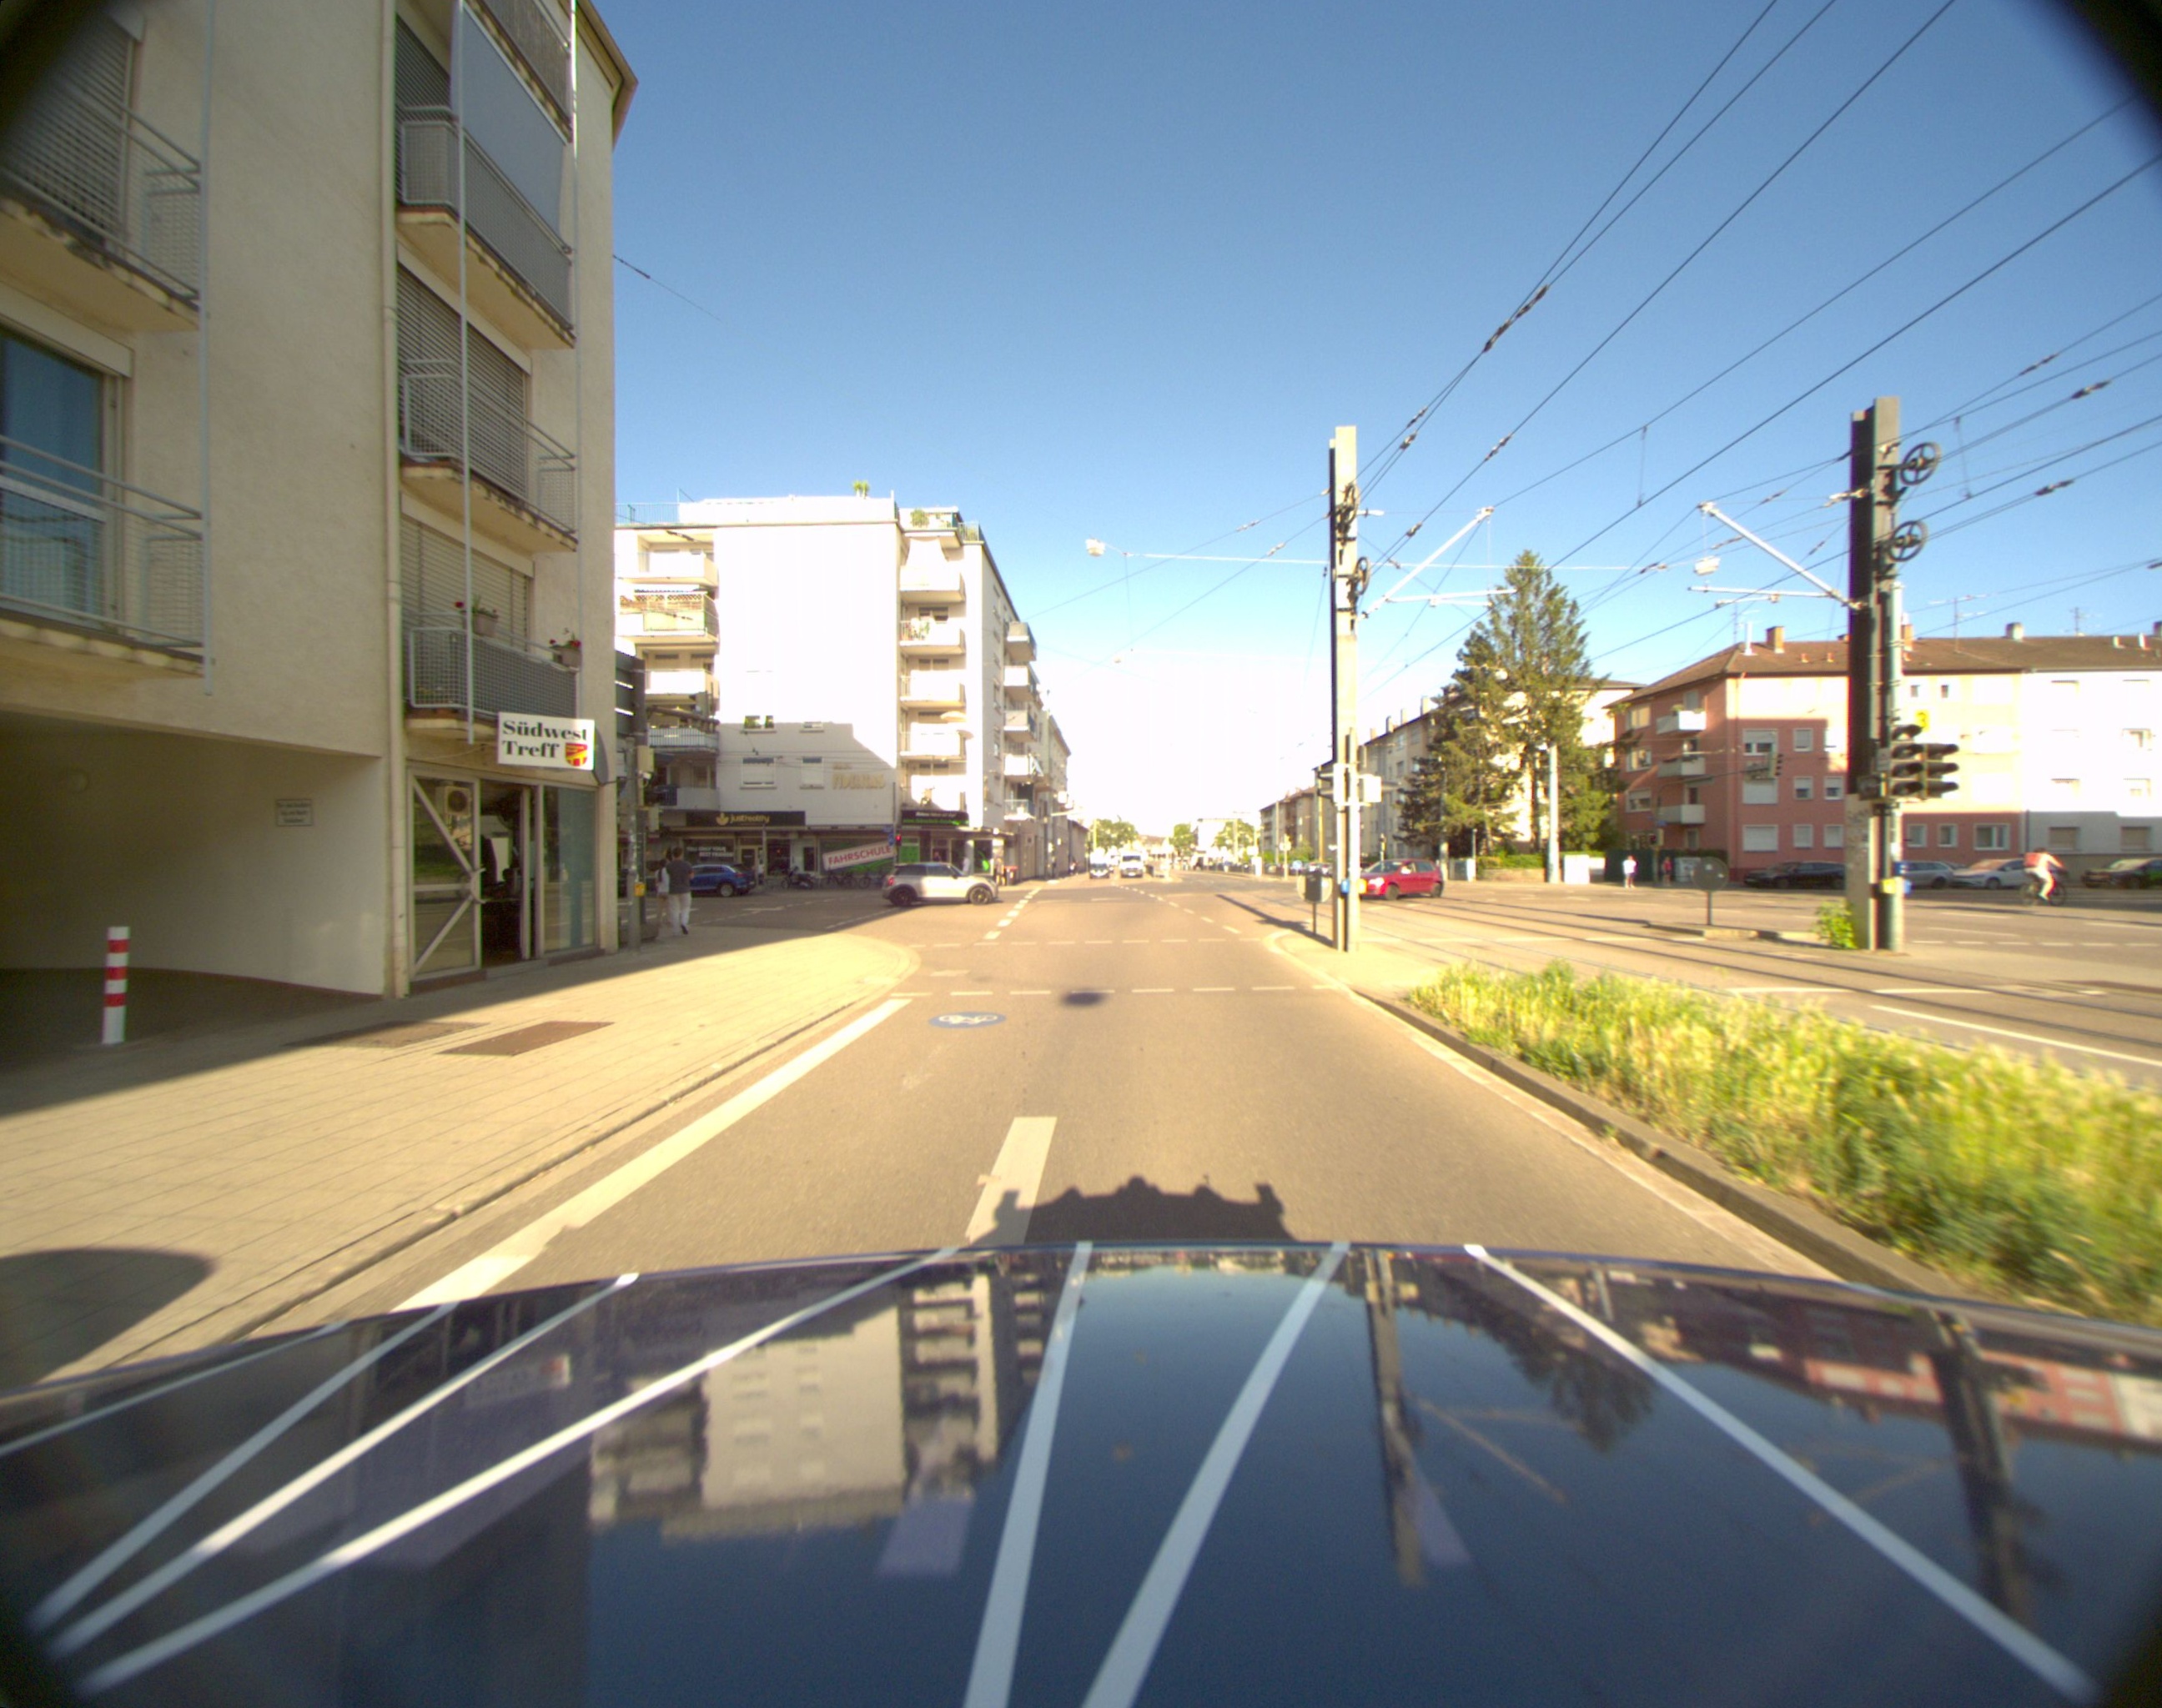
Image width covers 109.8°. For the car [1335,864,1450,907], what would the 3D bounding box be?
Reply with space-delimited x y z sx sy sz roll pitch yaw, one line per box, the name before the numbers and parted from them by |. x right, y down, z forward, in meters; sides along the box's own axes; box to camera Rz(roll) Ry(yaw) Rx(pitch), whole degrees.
car | 11.299 1.097 27.541 3.834 1.477 1.781 0 0 -26

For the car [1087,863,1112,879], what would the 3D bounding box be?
car | 1.683 1.498 67.990 1.881 1.405 3.932 1 -1 6

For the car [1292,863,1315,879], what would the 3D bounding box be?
car | 24.736 1.868 84.633 1.559 1.517 3.645 0 2 3

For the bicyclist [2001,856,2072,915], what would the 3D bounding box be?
bicyclist | 28.084 0.909 22.349 0.934 1.682 0.814 1 2 9

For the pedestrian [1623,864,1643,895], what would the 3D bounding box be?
pedestrian | 28.798 1.332 39.641 0.573 1.560 0.518 0 2 2

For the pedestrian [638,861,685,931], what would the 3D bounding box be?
pedestrian | -10.019 1.006 18.151 0.731 1.613 0.542 1 -4 26

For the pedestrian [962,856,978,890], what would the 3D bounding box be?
pedestrian | -5.877 0.988 40.234 0.661 1.782 0.738 0 1 8

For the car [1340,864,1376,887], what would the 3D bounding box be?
car | 23.254 1.771 63.992 1.869 1.619 4.073 1 2 6

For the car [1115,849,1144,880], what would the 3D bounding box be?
car | 4.399 0.893 68.317 2.339 2.503 4.855 1 2 6

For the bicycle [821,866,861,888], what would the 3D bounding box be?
bicycle | -12.093 1.163 38.315 1.795 1.082 0.608 0 2 1

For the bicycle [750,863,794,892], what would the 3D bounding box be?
bicycle | -14.423 1.099 35.460 1.795 1.307 0.608 0 2 1

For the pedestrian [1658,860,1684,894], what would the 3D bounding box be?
pedestrian | 30.920 1.210 39.842 0.705 1.712 0.782 -1 3 -26

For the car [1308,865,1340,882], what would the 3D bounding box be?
car | 23.889 1.874 74.827 1.832 1.470 4.032 0 2 1

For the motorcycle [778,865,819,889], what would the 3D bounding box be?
motorcycle | -14.111 1.153 37.985 1.795 1.128 0.608 0 2 1

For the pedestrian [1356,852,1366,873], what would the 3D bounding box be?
pedestrian | 25.841 0.747 70.136 0.699 1.876 0.781 1 2 6

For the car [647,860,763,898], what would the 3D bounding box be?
car | -16.840 1.108 34.176 4.235 1.495 1.774 -1 3 -1

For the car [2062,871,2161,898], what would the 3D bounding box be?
car | 53.802 1.534 39.015 4.279 1.232 1.952 0 2 0

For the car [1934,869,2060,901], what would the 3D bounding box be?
car | 46.903 1.576 38.961 4.226 1.517 1.747 0 2 1

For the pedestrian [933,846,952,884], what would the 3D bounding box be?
pedestrian | -7.119 0.551 39.079 0.737 1.889 0.575 3 1 19

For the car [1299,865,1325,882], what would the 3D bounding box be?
car | 24.291 2.026 80.043 1.660 1.549 3.788 0 2 3

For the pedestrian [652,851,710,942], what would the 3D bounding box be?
pedestrian | -7.997 0.823 15.185 1.038 1.732 0.689 2 0 43

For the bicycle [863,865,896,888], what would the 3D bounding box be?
bicycle | -10.200 1.123 38.508 1.537 1.100 0.553 0 2 3

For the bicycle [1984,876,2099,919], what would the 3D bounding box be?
bicycle | 28.209 1.262 22.349 2.061 1.175 0.814 1 2 9

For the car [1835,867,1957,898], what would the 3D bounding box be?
car | 42.008 1.471 39.255 4.098 1.428 1.909 0 2 3

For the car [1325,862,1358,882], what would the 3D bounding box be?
car | 23.774 1.612 69.380 1.771 1.589 4.033 0 2 3

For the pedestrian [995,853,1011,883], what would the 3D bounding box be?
pedestrian | -4.404 0.794 43.105 0.700 1.641 0.760 3 -2 4

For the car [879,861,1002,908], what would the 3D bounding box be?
car | -4.753 0.989 25.602 3.820 1.417 1.725 -1 1 -20

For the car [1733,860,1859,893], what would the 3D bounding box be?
car | 36.953 1.119 39.355 4.437 1.423 2.160 2 2 0
